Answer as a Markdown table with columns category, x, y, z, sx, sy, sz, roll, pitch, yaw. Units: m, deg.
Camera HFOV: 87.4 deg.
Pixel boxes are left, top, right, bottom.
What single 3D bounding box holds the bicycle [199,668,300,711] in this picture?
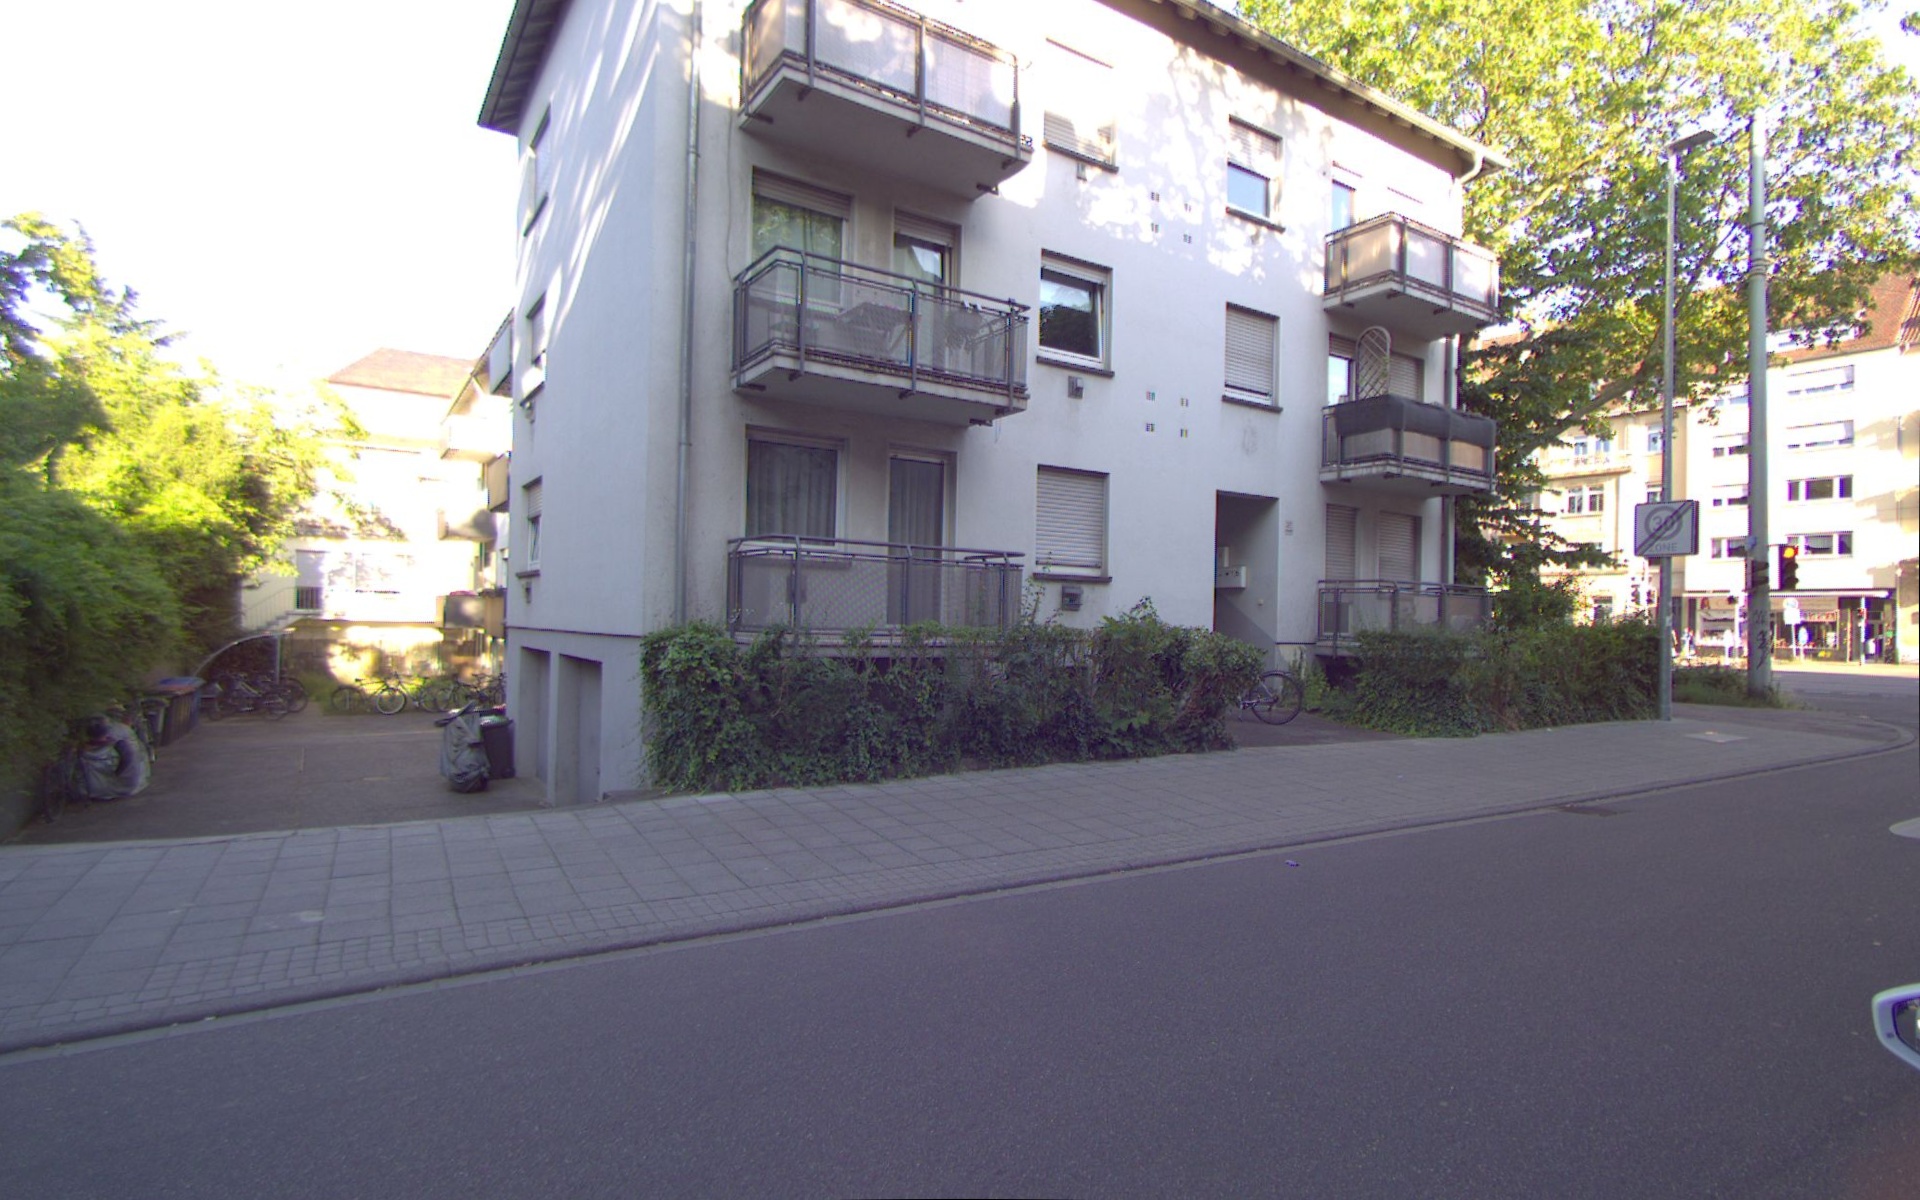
| category | x | y | z | sx | sy | sz | roll | pitch | yaw |
| --- | --- | --- | --- | --- | --- | --- | --- | --- | --- |
| bicycle | -18.467 | 2.344 | 26.164 | 2.045 | 1.034 | 0.568 | 4 | 0 | -30 |

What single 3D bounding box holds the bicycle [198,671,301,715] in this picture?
| category | x | y | z | sx | sy | sz | roll | pitch | yaw |
| --- | --- | --- | --- | --- | --- | --- | --- | --- | --- |
| bicycle | -18.033 | 2.377 | 25.551 | 2.045 | 1.034 | 0.637 | 4 | 0 | -30 |

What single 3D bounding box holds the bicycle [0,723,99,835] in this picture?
| category | x | y | z | sx | sy | sz | roll | pitch | yaw |
| --- | --- | --- | --- | --- | --- | --- | --- | --- | --- |
| bicycle | -10.939 | 2.102 | 12.106 | 0.509 | 1.033 | 1.922 | 3 | -1 | -32 |

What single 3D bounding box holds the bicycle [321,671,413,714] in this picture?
| category | x | y | z | sx | sy | sz | roll | pitch | yaw |
| --- | --- | --- | --- | --- | --- | --- | --- | --- | --- |
| bicycle | -15.684 | 2.461 | 26.617 | 2.045 | 1.034 | 0.637 | 4 | 0 | -30 |

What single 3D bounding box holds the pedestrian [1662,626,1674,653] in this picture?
| category | x | y | z | sx | sy | sz | roll | pitch | yaw |
| --- | --- | --- | --- | --- | --- | --- | --- | --- | --- |
| pedestrian | 40.760 | 2.257 | 57.826 | 0.558 | 1.531 | 0.499 | 0 | -1 | 41 |

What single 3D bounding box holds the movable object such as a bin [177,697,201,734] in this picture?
| category | x | y | z | sx | sy | sz | roll | pitch | yaw |
| --- | --- | --- | --- | --- | --- | --- | --- | --- | --- |
| movable object such as a bin | -16.594 | 2.487 | 21.626 | 0.342 | 0.768 | 0.361 | 2 | -4 | -30 |

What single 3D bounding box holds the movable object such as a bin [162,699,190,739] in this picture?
| category | x | y | z | sx | sy | sz | roll | pitch | yaw |
| --- | --- | --- | --- | --- | --- | --- | --- | --- | --- |
| movable object such as a bin | -15.816 | 2.399 | 20.261 | 0.377 | 0.784 | 0.361 | 2 | -4 | -30 |

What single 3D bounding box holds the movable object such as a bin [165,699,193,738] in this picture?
| category | x | y | z | sx | sy | sz | roll | pitch | yaw |
| --- | --- | --- | --- | --- | --- | --- | --- | --- | --- |
| movable object such as a bin | -16.014 | 2.426 | 20.602 | 0.371 | 0.768 | 0.361 | 2 | -4 | -30 |

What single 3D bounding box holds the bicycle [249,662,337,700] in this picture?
| category | x | y | z | sx | sy | sz | roll | pitch | yaw |
| --- | --- | --- | --- | --- | --- | --- | --- | --- | --- |
| bicycle | -19.317 | 2.356 | 29.148 | 2.045 | 1.034 | 0.564 | 4 | 0 | -30 |

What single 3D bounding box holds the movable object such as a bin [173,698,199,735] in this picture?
| category | x | y | z | sx | sy | sz | roll | pitch | yaw |
| --- | --- | --- | --- | --- | --- | --- | --- | --- | --- |
| movable object such as a bin | -16.395 | 2.468 | 21.292 | 0.362 | 0.768 | 0.361 | 2 | -4 | -30 |

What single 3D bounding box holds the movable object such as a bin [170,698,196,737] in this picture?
| category | x | y | z | sx | sy | sz | roll | pitch | yaw |
| --- | --- | --- | --- | --- | --- | --- | --- | --- | --- |
| movable object such as a bin | -16.201 | 2.447 | 20.951 | 0.362 | 0.768 | 0.361 | 2 | -4 | -30 |

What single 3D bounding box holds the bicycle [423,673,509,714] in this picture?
| category | x | y | z | sx | sy | sz | roll | pitch | yaw |
| --- | --- | --- | --- | --- | --- | --- | --- | --- | --- |
| bicycle | -13.659 | 2.583 | 27.785 | 2.045 | 1.034 | 0.637 | 4 | 0 | -30 |

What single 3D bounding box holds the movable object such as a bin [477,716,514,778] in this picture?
| category | x | y | z | sx | sy | sz | roll | pitch | yaw |
| --- | --- | --- | --- | --- | --- | --- | --- | --- | --- |
| movable object such as a bin | -7.492 | 2.358 | 16.189 | 0.428 | 0.899 | 0.720 | 1 | -2 | -34 |

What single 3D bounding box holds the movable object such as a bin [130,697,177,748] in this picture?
| category | x | y | z | sx | sy | sz | roll | pitch | yaw |
| --- | --- | --- | --- | --- | --- | --- | --- | --- | --- |
| movable object such as a bin | -14.942 | 2.259 | 18.628 | 0.570 | 0.891 | 0.491 | 2 | -4 | -30 |

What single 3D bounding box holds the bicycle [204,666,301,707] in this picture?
| category | x | y | z | sx | sy | sz | roll | pitch | yaw |
| --- | --- | --- | --- | --- | --- | --- | --- | --- | --- |
| bicycle | -19.158 | 2.352 | 27.238 | 2.045 | 1.034 | 0.611 | 4 | 0 | -30 |

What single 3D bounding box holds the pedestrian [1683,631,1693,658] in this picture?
| category | x | y | z | sx | sy | sz | roll | pitch | yaw |
| --- | --- | --- | --- | --- | --- | --- | --- | --- | --- |
| pedestrian | 41.722 | 2.522 | 57.571 | 0.467 | 1.531 | 0.429 | 0 | -1 | 41 |

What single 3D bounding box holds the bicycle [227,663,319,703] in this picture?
| category | x | y | z | sx | sy | sz | roll | pitch | yaw |
| --- | --- | --- | --- | --- | --- | --- | --- | --- | --- |
| bicycle | -19.293 | 2.353 | 28.276 | 2.045 | 1.034 | 0.611 | 4 | 0 | -30 |

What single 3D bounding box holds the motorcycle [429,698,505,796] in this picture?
| category | x | y | z | sx | sy | sz | roll | pitch | yaw |
| --- | --- | --- | --- | --- | --- | --- | --- | --- | --- |
| motorcycle | -7.392 | 2.163 | 15.029 | 0.751 | 1.268 | 1.577 | 1 | -2 | -36 |

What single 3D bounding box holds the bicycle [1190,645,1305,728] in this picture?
| category | x | y | z | sx | sy | sz | roll | pitch | yaw |
| --- | --- | --- | --- | --- | --- | --- | --- | --- | --- |
| bicycle | 3.891 | 1.151 | 13.621 | 1.433 | 0.988 | 0.407 | 3 | 0 | 21 |

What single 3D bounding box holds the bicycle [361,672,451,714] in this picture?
| category | x | y | z | sx | sy | sz | roll | pitch | yaw |
| --- | --- | --- | --- | --- | --- | --- | --- | --- | --- |
| bicycle | -14.902 | 2.513 | 27.057 | 2.045 | 1.034 | 0.637 | 4 | 0 | -30 |

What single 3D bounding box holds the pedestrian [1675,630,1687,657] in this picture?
| category | x | y | z | sx | sy | sz | roll | pitch | yaw |
| --- | --- | --- | --- | --- | --- | --- | --- | --- | --- |
| pedestrian | 42.049 | 2.537 | 58.589 | 0.501 | 1.531 | 0.535 | 0 | -1 | 33 |

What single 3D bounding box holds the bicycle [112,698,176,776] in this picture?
| category | x | y | z | sx | sy | sz | roll | pitch | yaw |
| --- | --- | --- | --- | --- | --- | --- | --- | --- | --- |
| bicycle | -13.213 | 2.184 | 16.300 | 0.509 | 1.033 | 1.922 | 3 | -1 | -32 |

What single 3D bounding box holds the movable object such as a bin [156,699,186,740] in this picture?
| category | x | y | z | sx | sy | sz | roll | pitch | yaw |
| --- | --- | --- | --- | --- | --- | --- | --- | --- | --- |
| movable object such as a bin | -15.622 | 2.365 | 19.902 | 0.393 | 0.784 | 0.361 | 2 | -4 | -30 |
